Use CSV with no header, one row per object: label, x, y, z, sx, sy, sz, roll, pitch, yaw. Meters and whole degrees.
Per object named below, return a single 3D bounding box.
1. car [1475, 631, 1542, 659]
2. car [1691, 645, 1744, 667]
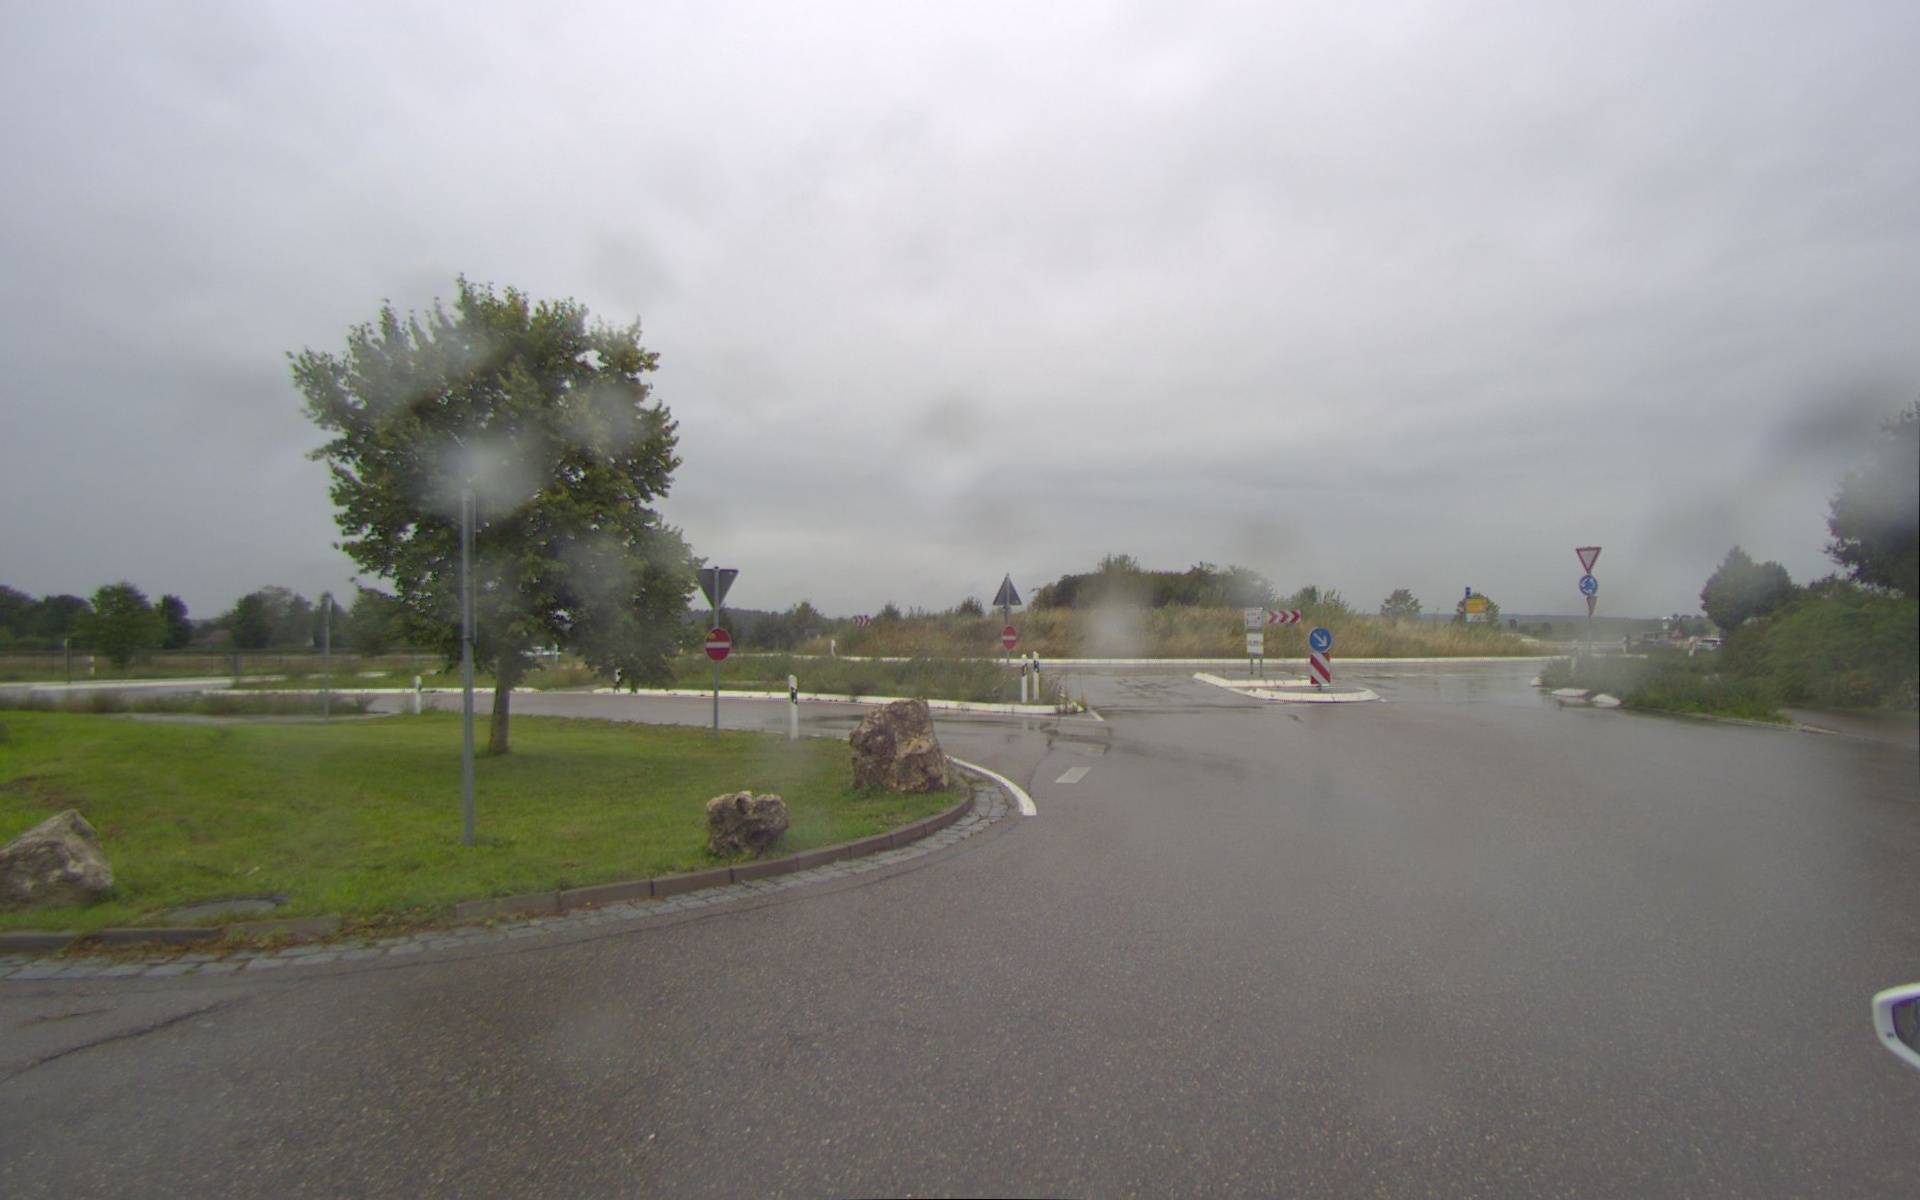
car,36.904,3.046,67.722,1.716,1.781,4.362,0,-3,-8
car,43.979,3.211,58.303,3.294,1.238,1.302,1,-3,-30
